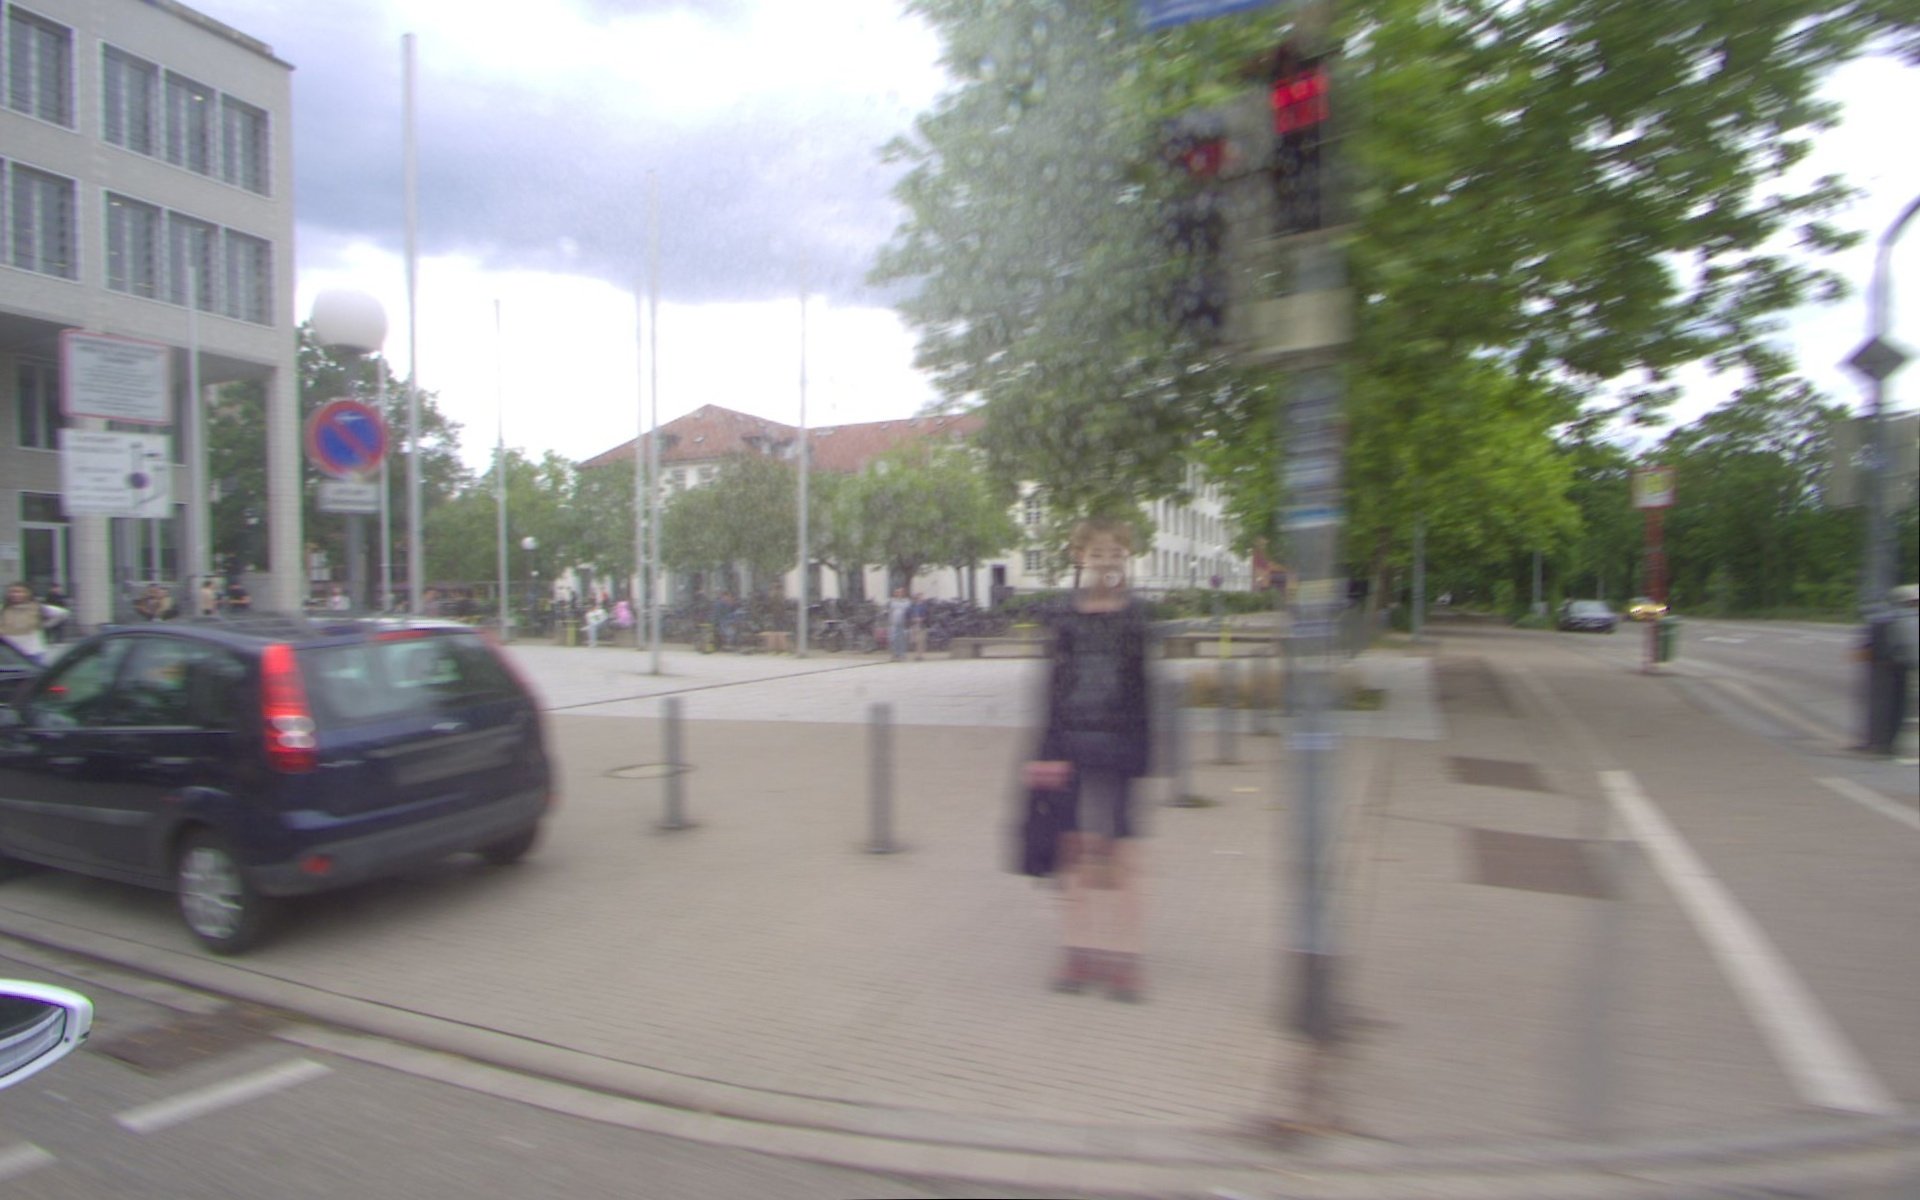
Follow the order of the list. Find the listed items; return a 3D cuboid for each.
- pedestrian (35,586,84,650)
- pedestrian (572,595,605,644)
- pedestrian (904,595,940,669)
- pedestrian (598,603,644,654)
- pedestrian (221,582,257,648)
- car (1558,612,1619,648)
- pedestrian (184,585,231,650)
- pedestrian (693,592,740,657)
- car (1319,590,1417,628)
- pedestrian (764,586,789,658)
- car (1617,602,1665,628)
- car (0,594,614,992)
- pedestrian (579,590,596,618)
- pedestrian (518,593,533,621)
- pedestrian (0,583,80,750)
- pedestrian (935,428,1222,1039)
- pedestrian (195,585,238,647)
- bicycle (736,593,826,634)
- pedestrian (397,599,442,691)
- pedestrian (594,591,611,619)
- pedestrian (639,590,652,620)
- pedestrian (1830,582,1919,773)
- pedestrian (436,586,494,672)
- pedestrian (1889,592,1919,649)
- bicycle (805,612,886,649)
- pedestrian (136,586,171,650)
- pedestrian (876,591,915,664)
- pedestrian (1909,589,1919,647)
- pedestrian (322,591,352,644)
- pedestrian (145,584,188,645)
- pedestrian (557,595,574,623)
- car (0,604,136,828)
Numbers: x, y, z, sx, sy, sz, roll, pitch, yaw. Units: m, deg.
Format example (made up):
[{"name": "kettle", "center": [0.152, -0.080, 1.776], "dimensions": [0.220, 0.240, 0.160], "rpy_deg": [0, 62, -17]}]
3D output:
[{"name": "pedestrian", "center": [-24.089, 0.471, 26.795], "dimensions": [0.694, 1.692, 0.755], "rpy_deg": [0, 0, 26]}, {"name": "pedestrian", "center": [-10.836, 0.565, 29.202], "dimensions": [0.755, 1.432, 0.673], "rpy_deg": [0, 0, -6]}, {"name": "pedestrian", "center": [-0.893, 0.754, 23.806], "dimensions": [0.648, 1.738, 0.582], "rpy_deg": [0, 1, 31]}, {"name": "pedestrian", "center": [-9.840, 0.810, 29.073], "dimensions": [0.951, 1.439, 0.851], "rpy_deg": [0, 1, 14]}, {"name": "pedestrian", "center": [-21.046, 0.437, 29.248], "dimensions": [0.593, 1.890, 0.777], "rpy_deg": [-1, 1, -16]}, {"name": "car", "center": [28.356, 1.318, 45.278], "dimensions": [1.968, 1.532, 3.985], "rpy_deg": [0, 0, 27]}, {"name": "pedestrian", "center": [-21.275, 0.504, 28.319], "dimensions": [0.723, 1.808, 0.764], "rpy_deg": [0, 0, 11]}, {"name": "pedestrian", "center": [-6.646, 0.656, 27.368], "dimensions": [0.950, 1.727, 0.851], "rpy_deg": [0, 2, 13]}, {"name": "car", "center": [19.753, 0.421, 48.633], "dimensions": [3.988, 1.776, 1.999], "rpy_deg": [0, 0, 8]}, {"name": "pedestrian", "center": [-4.816, 0.558, 26.265], "dimensions": [0.503, 1.858, 0.671], "rpy_deg": [0, 1, -25]}, {"name": "car", "center": [43.237, 0.937, 63.644], "dimensions": [1.968, 1.639, 4.178], "rpy_deg": [0, 0, 27]}, {"name": "car", "center": [-4.034, 0.766, 5.518], "dimensions": [4.039, 1.522, 1.621], "rpy_deg": [0, 2, 26]}, {"name": "pedestrian", "center": [-22.440, 0.253, 60.298], "dimensions": [0.682, 1.663, 0.661], "rpy_deg": [0, 1, 23]}, {"name": "pedestrian", "center": [-26.296, 0.431, 60.615], "dimensions": [0.659, 1.663, 0.656], "rpy_deg": [0, 1, 44]}, {"name": "pedestrian", "center": [-10.558, 0.722, 11.295], "dimensions": [0.811, 1.811, 0.788], "rpy_deg": [0, 0, 37]}, {"name": "pedestrian", "center": [0.445, 0.440, 3.783], "dimensions": [0.785, 1.978, 0.751], "rpy_deg": [0, 1, -41]}, {"name": "pedestrian", "center": [-21.903, 0.479, 29.514], "dimensions": [0.723, 1.808, 0.721], "rpy_deg": [0, 0, 11]}, {"name": "bicycle", "center": [-5.893, 0.427, 32.921], "dimensions": [3.057, 1.185, 0.745], "rpy_deg": [3, 0, 27]}, {"name": "pedestrian", "center": [-11.030, 0.911, 20.431], "dimensions": [0.636, 1.832, 0.643], "rpy_deg": [2, 1, -38]}, {"name": "pedestrian", "center": [-21.385, 0.307, 59.910], "dimensions": [0.655, 1.663, 0.661], "rpy_deg": [0, 1, 23]}, {"name": "pedestrian", "center": [-17.935, 0.295, 57.077], "dimensions": [0.650, 1.663, 0.665], "rpy_deg": [0, 0, -12]}, {"name": "pedestrian", "center": [8.549, 0.685, 9.129], "dimensions": [0.783, 1.649, 0.752], "rpy_deg": [5, 4, 38]}, {"name": "pedestrian", "center": [-10.454, 0.597, 21.162], "dimensions": [0.891, 1.736, 0.693], "rpy_deg": [2, 3, -2]}, {"name": "pedestrian", "center": [30.605, 0.656, 32.137], "dimensions": [0.701, 1.812, 0.894], "rpy_deg": [0, 0, 1]}, {"name": "bicycle", "center": [-4.257, 1.115, 37.137], "dimensions": [3.057, 1.185, 0.745], "rpy_deg": [3, 0, 27]}, {"name": "pedestrian", "center": [-23.602, 0.523, 29.311], "dimensions": [0.610, 1.865, 0.590], "rpy_deg": [0, 0, 26]}, {"name": "pedestrian", "center": [-1.557, 0.656, 24.206], "dimensions": [0.668, 1.738, 0.670], "rpy_deg": [0, 1, 31]}, {"name": "pedestrian", "center": [30.354, 0.555, 31.202], "dimensions": [0.701, 1.812, 0.894], "rpy_deg": [0, 0, 1]}, {"name": "pedestrian", "center": [-20.243, 0.579, 32.542], "dimensions": [0.727, 1.662, 0.926], "rpy_deg": [2, 1, -30]}, {"name": "pedestrian", "center": [-22.899, 0.417, 28.905], "dimensions": [0.594, 1.738, 0.776], "rpy_deg": [0, 0, 26]}, {"name": "pedestrian", "center": [-23.324, 0.552, 59.268], "dimensions": [0.655, 1.663, 0.661], "rpy_deg": [0, 1, 22]}, {"name": "car", "center": [-8.433, 0.765, 6.961], "dimensions": [4.395, 1.421, 1.863], "rpy_deg": [0, 3, 13]}]
